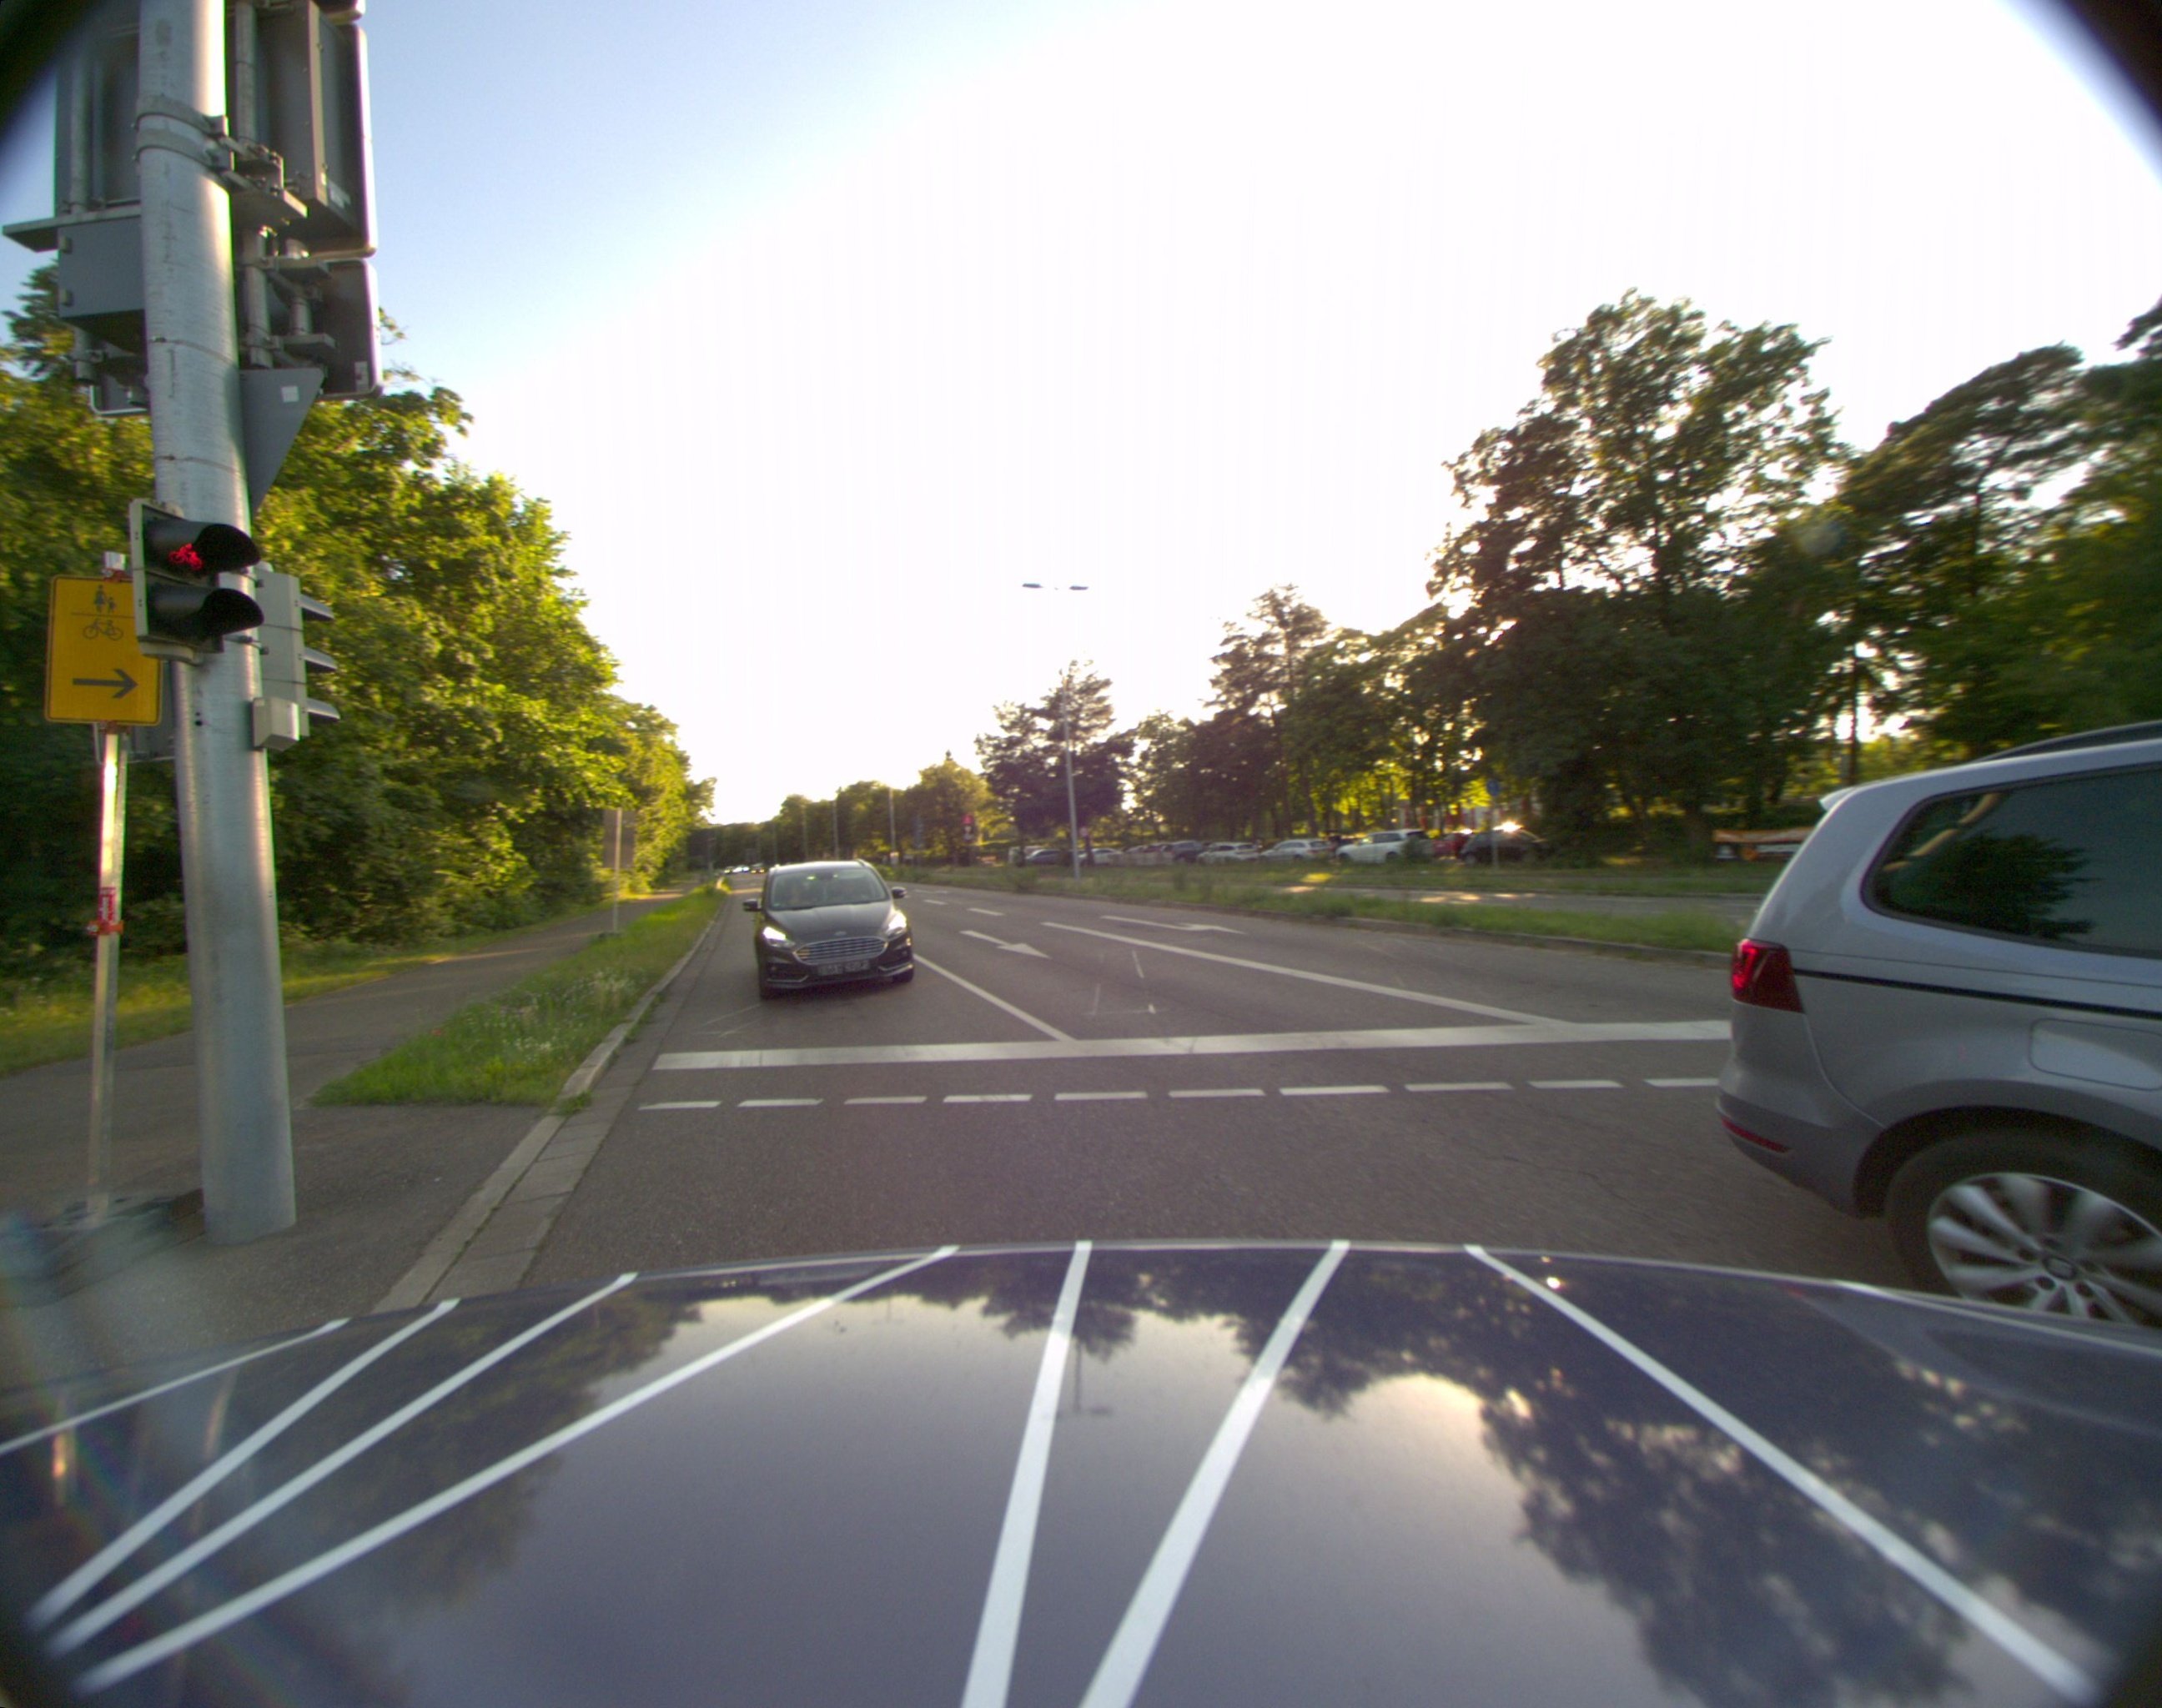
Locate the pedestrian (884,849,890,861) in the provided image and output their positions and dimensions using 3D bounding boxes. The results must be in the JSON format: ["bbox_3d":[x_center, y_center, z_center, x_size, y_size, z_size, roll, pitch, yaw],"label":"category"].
[{"bbox_3d":[-29.252,0.198,114.611,0.568,1.765,0.675,-5,2,-21],"label":"pedestrian"}]

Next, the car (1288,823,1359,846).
[{"bbox_3d":[16.434,-1.300,51.733,1.867,1.399,4.538,-3,1,-27],"label":"car"}]

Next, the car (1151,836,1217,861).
[{"bbox_3d":[6.962,-0.372,51.350,4.054,1.470,1.759,-3,1,-21],"label":"car"}]

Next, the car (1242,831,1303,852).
[{"bbox_3d":[14.218,-0.936,56.791,1.867,1.399,4.538,-3,1,-27],"label":"car"}]

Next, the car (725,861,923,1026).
[{"bbox_3d":[-3.738,1.001,10.857,2.014,1.652,4.813,-4,1,-21],"label":"car"}]

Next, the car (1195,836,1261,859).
[{"bbox_3d":[9.275,-0.410,48.292,1.682,1.317,4.490,-3,1,-27],"label":"car"}]

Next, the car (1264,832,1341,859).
[{"bbox_3d":[12.220,-0.437,42.115,1.867,1.324,3.991,-3,1,-27],"label":"car"}]

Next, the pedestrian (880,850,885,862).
[{"bbox_3d":[-29.905,0.266,114.354,0.568,1.736,0.675,-5,2,-21],"label":"pedestrian"}]

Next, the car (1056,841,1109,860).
[{"bbox_3d":[0.123,-0.291,66.771,4.176,1.470,1.780,-3,1,-25],"label":"car"}]

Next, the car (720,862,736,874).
[{"bbox_3d":[-55.515,2.230,119.645,2.002,1.615,4.388,-5,2,-22],"label":"car"}]

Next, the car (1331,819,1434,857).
[{"bbox_3d":[14.594,-0.730,37.050,1.867,1.649,4.538,-3,1,-27],"label":"car"}]

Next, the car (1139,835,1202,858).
[{"bbox_3d":[6.444,-0.517,54.916,4.004,1.445,1.996,-3,1,-25],"label":"car"}]

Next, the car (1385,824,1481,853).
[{"bbox_3d":[19.215,-0.807,41.712,1.867,1.399,4.538,-3,1,-27],"label":"car"}]

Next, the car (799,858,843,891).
[{"bbox_3d":[-14.854,1.116,43.242,2.002,1.615,4.388,-5,2,-22],"label":"car"}]

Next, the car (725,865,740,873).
[{"bbox_3d":[-64.282,2.779,140.063,1.875,1.397,4.066,-5,2,-33],"label":"car"}]

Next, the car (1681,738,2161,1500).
[{"bbox_3d":[3.784,0.545,0.756,1.874,1.714,4.651,-3,1,-22],"label":"car"}]

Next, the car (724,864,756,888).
[{"bbox_3d":[-26.623,1.649,59.402,2.002,1.615,4.388,-5,2,-22],"label":"car"}]

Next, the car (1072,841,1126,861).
[{"bbox_3d":[1.531,-0.283,64.215,4.176,1.470,1.780,-3,1,-25],"label":"car"}]

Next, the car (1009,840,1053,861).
[{"bbox_3d":[-5.135,-0.365,77.431,4.004,1.854,1.822,-3,1,-22],"label":"car"}]

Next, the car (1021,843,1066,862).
[{"bbox_3d":[-3.703,-0.151,74.684,4.004,1.628,1.822,-3,1,-22],"label":"car"}]

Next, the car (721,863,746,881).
[{"bbox_3d":[-34.852,1.798,76.280,2.002,1.615,4.388,-5,2,-22],"label":"car"}]

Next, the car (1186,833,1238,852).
[{"bbox_3d":[10.851,-0.967,63.162,1.867,1.399,4.538,-3,1,-27],"label":"car"}]

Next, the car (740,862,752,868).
[{"bbox_3d":[-72.184,2.333,163.846,1.748,1.281,3.735,-4,1,-31],"label":"car"}]

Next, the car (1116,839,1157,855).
[{"bbox_3d":[5.447,-0.641,74.950,1.867,1.399,4.538,-3,1,-27],"label":"car"}]

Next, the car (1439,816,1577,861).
[{"bbox_3d":[17.375,-0.594,31.117,1.868,1.649,4.535,-4,2,-36],"label":"car"}]

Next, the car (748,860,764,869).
[{"bbox_3d":[-57.026,1.841,133.373,1.874,1.397,4.066,-5,2,-31],"label":"car"}]
